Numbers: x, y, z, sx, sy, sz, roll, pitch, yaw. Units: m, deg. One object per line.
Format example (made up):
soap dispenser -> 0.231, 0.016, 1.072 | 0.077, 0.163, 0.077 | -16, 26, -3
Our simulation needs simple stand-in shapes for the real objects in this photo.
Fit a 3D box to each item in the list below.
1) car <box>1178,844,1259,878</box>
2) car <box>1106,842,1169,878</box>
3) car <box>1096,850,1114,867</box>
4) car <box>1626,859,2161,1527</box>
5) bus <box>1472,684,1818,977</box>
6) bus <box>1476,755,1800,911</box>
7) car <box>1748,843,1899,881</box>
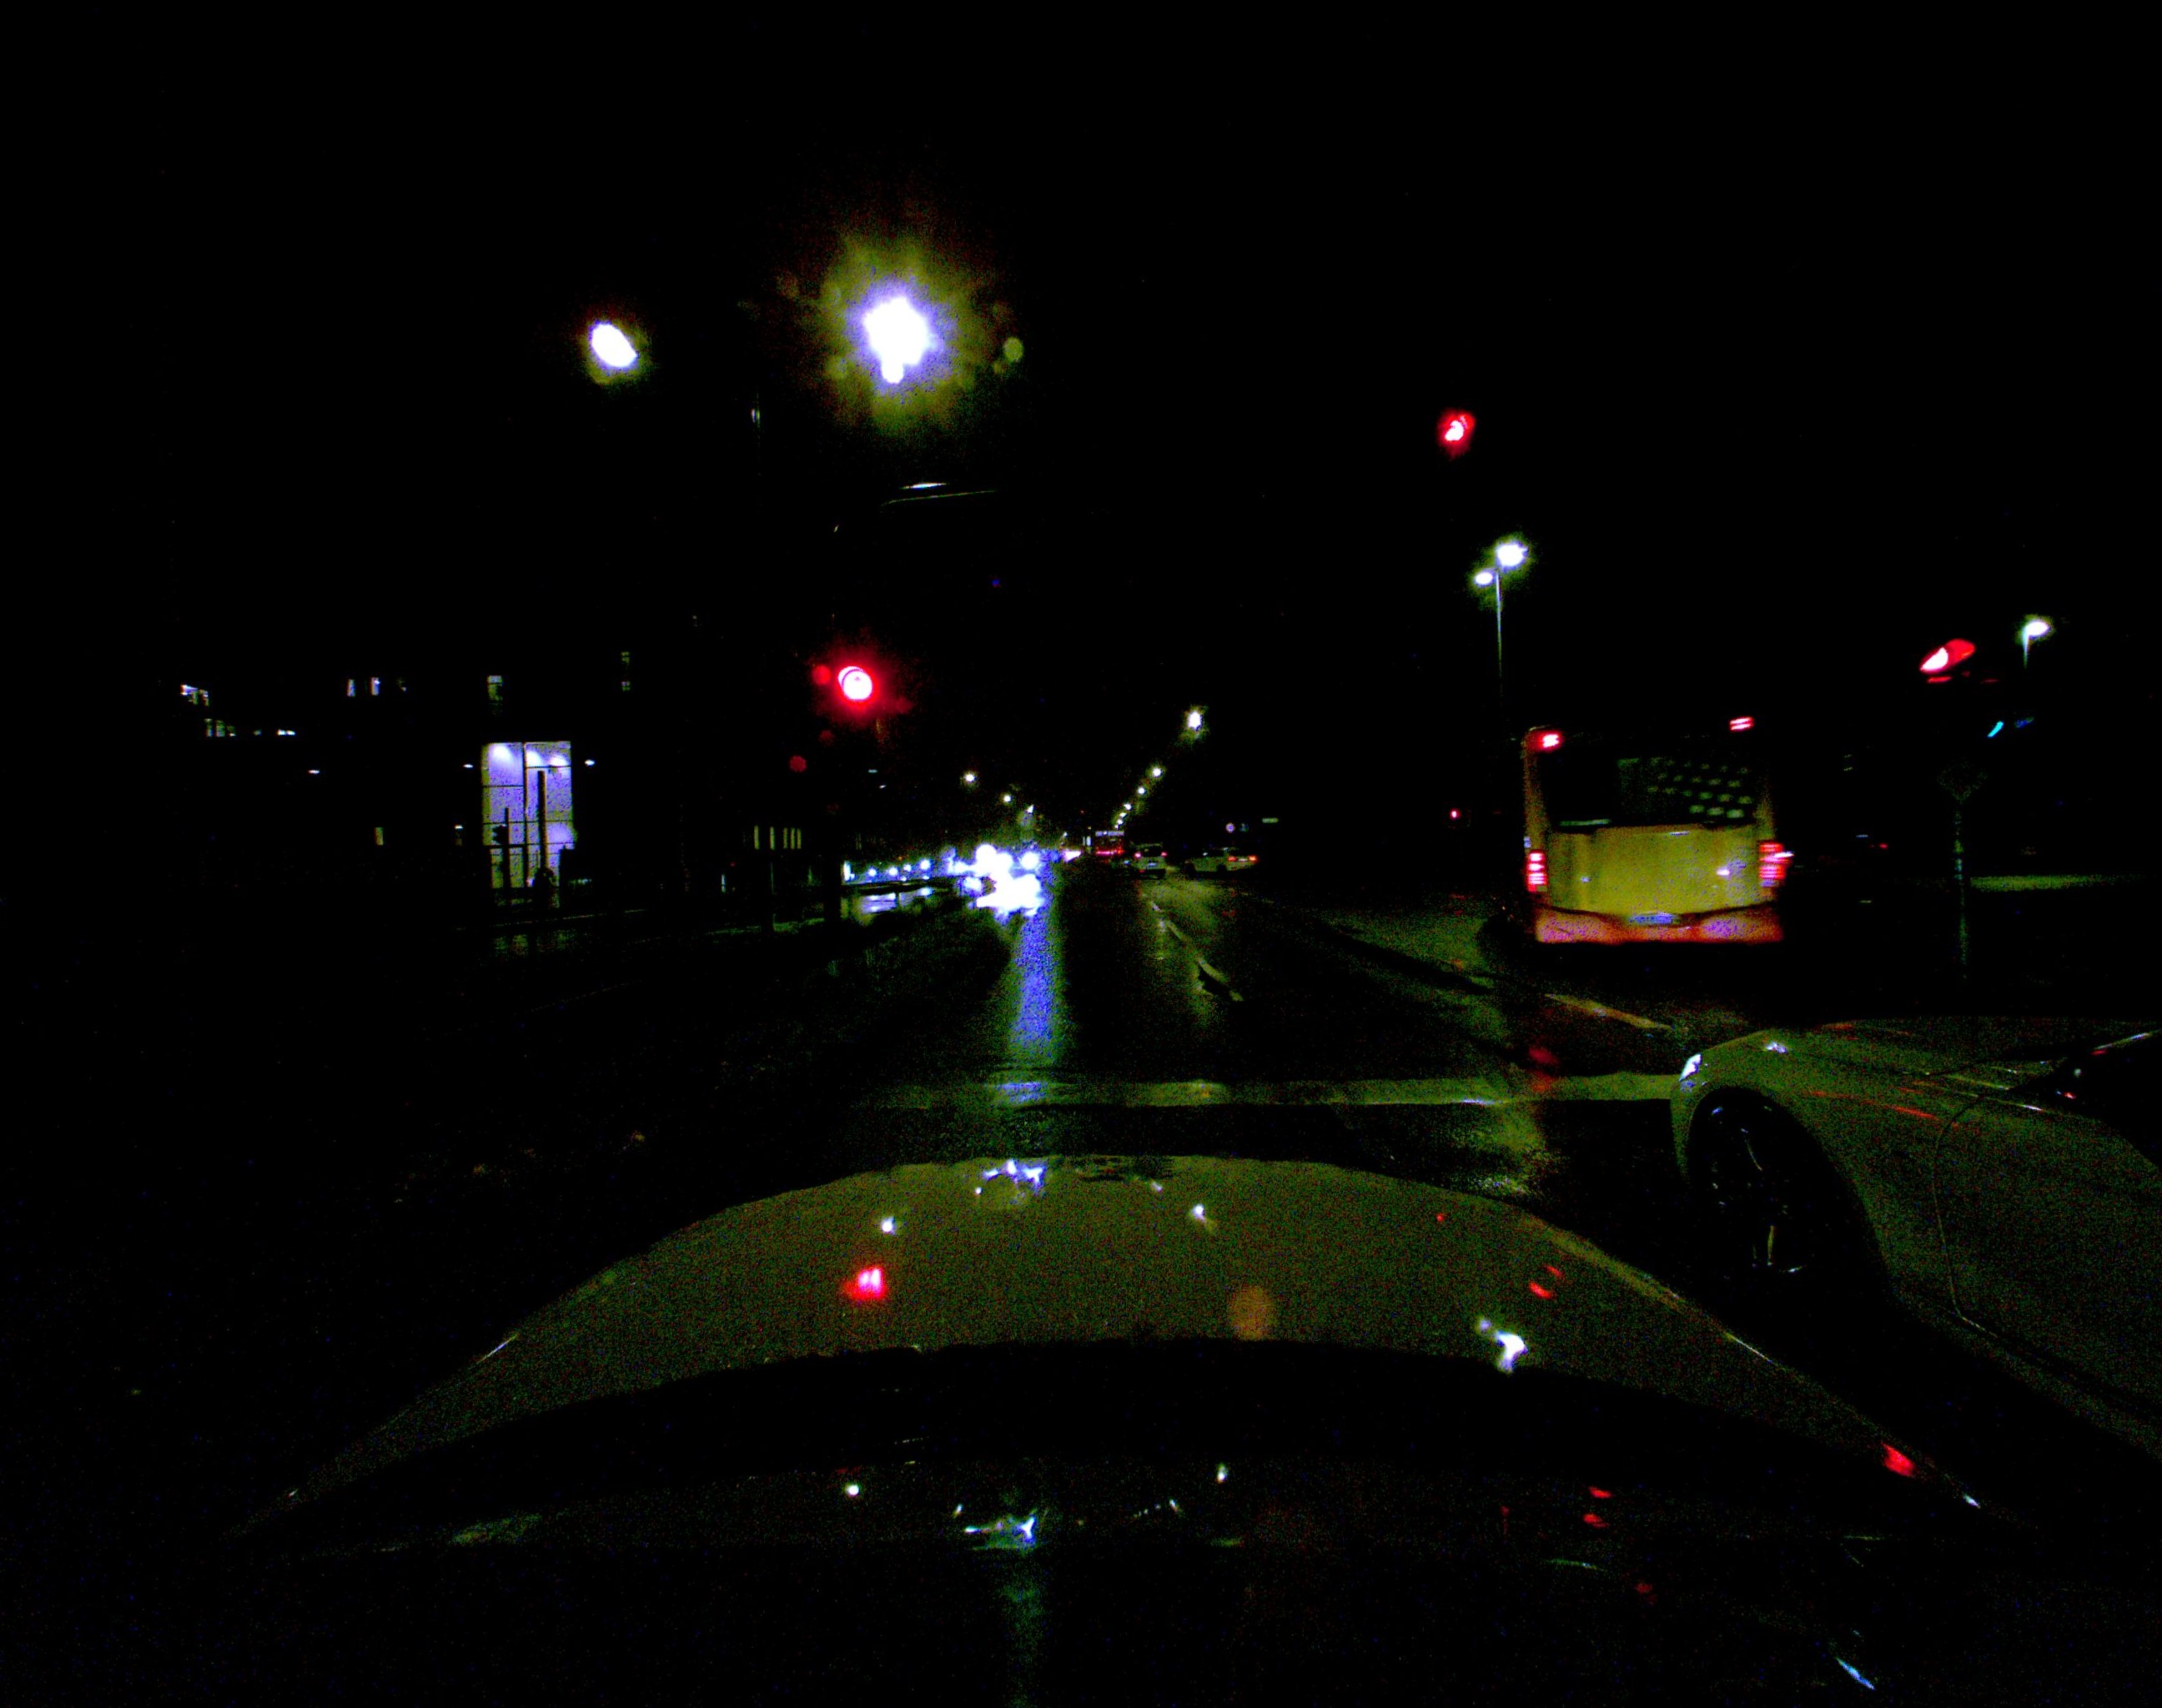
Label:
car -> 7.216, 0.377, 43.224 | 1.803, 1.679, 4.384 | 0, -1, -32
car -> 3.051, 0.314, 44.857 | 1.797, 1.874, 4.596 | 0, -1, -20
car -> 3.111, 0.619, 106.828 | 2.129, 2.145, 4.925 | 0, -1, -2
car -> 3.124, 0.714, 1.292 | 1.710, 1.404, 4.351 | 0, 0, 2
bus -> 8.430, -0.279, 13.724 | 2.744, 3.123, 9.815 | 0, 0, 22
bus -> 13.918, -0.467, 19.962 | 9.793, 3.123, 2.750 | -1, 0, -31
car -> 29.486, 0.325, 32.474 | 4.113, 1.487, 1.802 | 0, -1, 11
